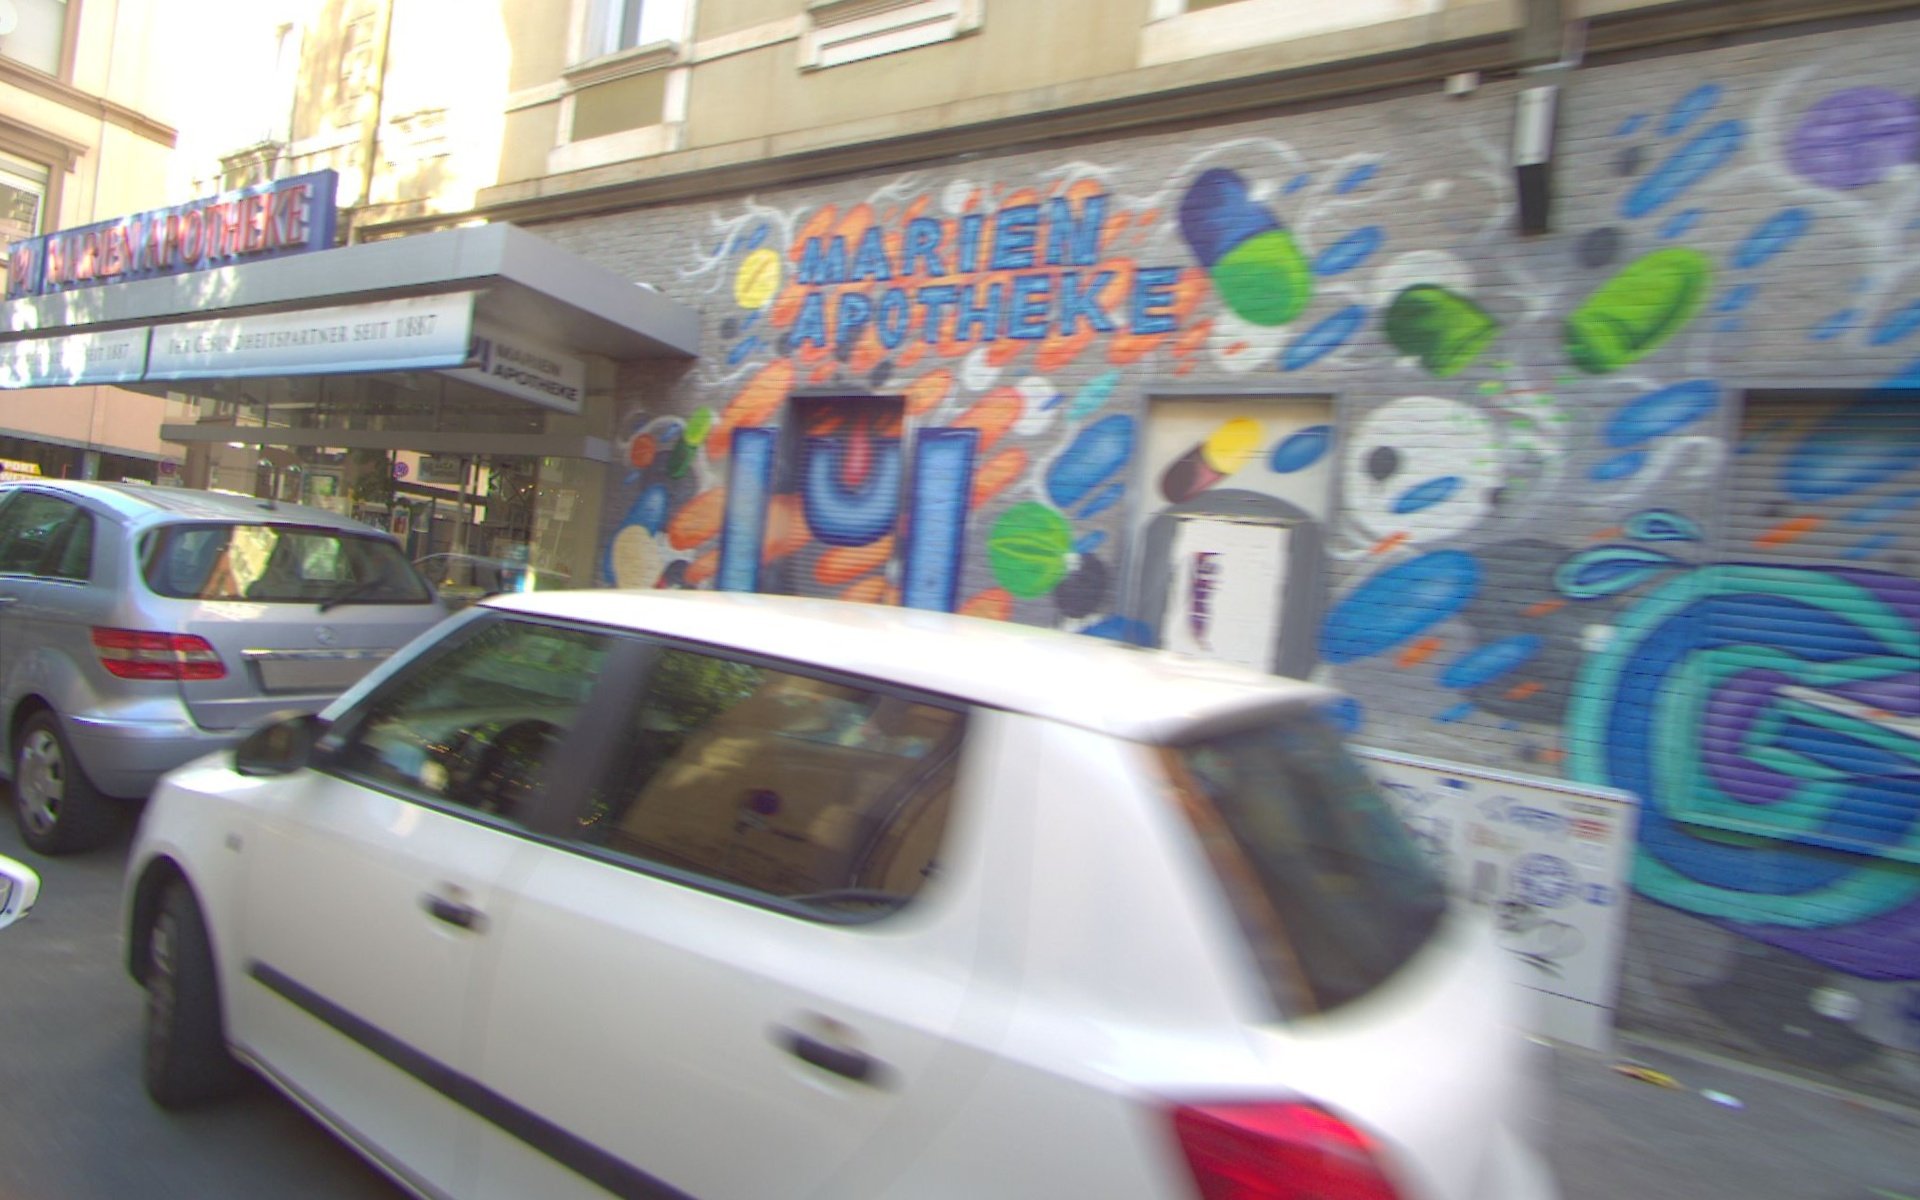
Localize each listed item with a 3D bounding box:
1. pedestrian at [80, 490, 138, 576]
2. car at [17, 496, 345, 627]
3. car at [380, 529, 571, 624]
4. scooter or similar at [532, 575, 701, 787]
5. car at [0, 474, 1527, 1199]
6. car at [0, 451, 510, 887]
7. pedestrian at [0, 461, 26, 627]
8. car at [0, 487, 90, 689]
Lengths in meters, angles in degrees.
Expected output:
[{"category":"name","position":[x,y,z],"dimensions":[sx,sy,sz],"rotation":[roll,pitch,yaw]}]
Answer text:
[{"category":"pedestrian","position":[-18.411,-1.451,21.768],"dimensions":[0.467,1.746,0.692],"rotation":[6,-1,30]},{"category":"car","position":[-12.024,-0.533,15.757],"dimensions":[1.759,1.504,3.579],"rotation":[7,-1,31]},{"category":"car","position":[-12.496,-0.550,26.183],"dimensions":[1.837,1.863,3.931],"rotation":[10,1,31]},{"category":"scooter or similar","position":[-2.362,0.530,6.893],"dimensions":[1.019,1.295,0.395],"rotation":[6,-1,31]},{"category":"car","position":[-0.932,0.632,2.717],"dimensions":[4.131,1.544,1.557],"rotation":[6,-2,32]},{"category":"car","position":[-4.631,0.175,5.623],"dimensions":[3.995,1.669,1.704],"rotation":[6,-2,30]},{"category":"pedestrian","position":[-11.422,-0.682,11.674],"dimensions":[0.521,1.916,0.563],"rotation":[6,-1,31]},{"category":"car","position":[-8.830,-0.288,7.947],"dimensions":[3.578,1.480,1.693],"rotation":[6,-2,28]}]
